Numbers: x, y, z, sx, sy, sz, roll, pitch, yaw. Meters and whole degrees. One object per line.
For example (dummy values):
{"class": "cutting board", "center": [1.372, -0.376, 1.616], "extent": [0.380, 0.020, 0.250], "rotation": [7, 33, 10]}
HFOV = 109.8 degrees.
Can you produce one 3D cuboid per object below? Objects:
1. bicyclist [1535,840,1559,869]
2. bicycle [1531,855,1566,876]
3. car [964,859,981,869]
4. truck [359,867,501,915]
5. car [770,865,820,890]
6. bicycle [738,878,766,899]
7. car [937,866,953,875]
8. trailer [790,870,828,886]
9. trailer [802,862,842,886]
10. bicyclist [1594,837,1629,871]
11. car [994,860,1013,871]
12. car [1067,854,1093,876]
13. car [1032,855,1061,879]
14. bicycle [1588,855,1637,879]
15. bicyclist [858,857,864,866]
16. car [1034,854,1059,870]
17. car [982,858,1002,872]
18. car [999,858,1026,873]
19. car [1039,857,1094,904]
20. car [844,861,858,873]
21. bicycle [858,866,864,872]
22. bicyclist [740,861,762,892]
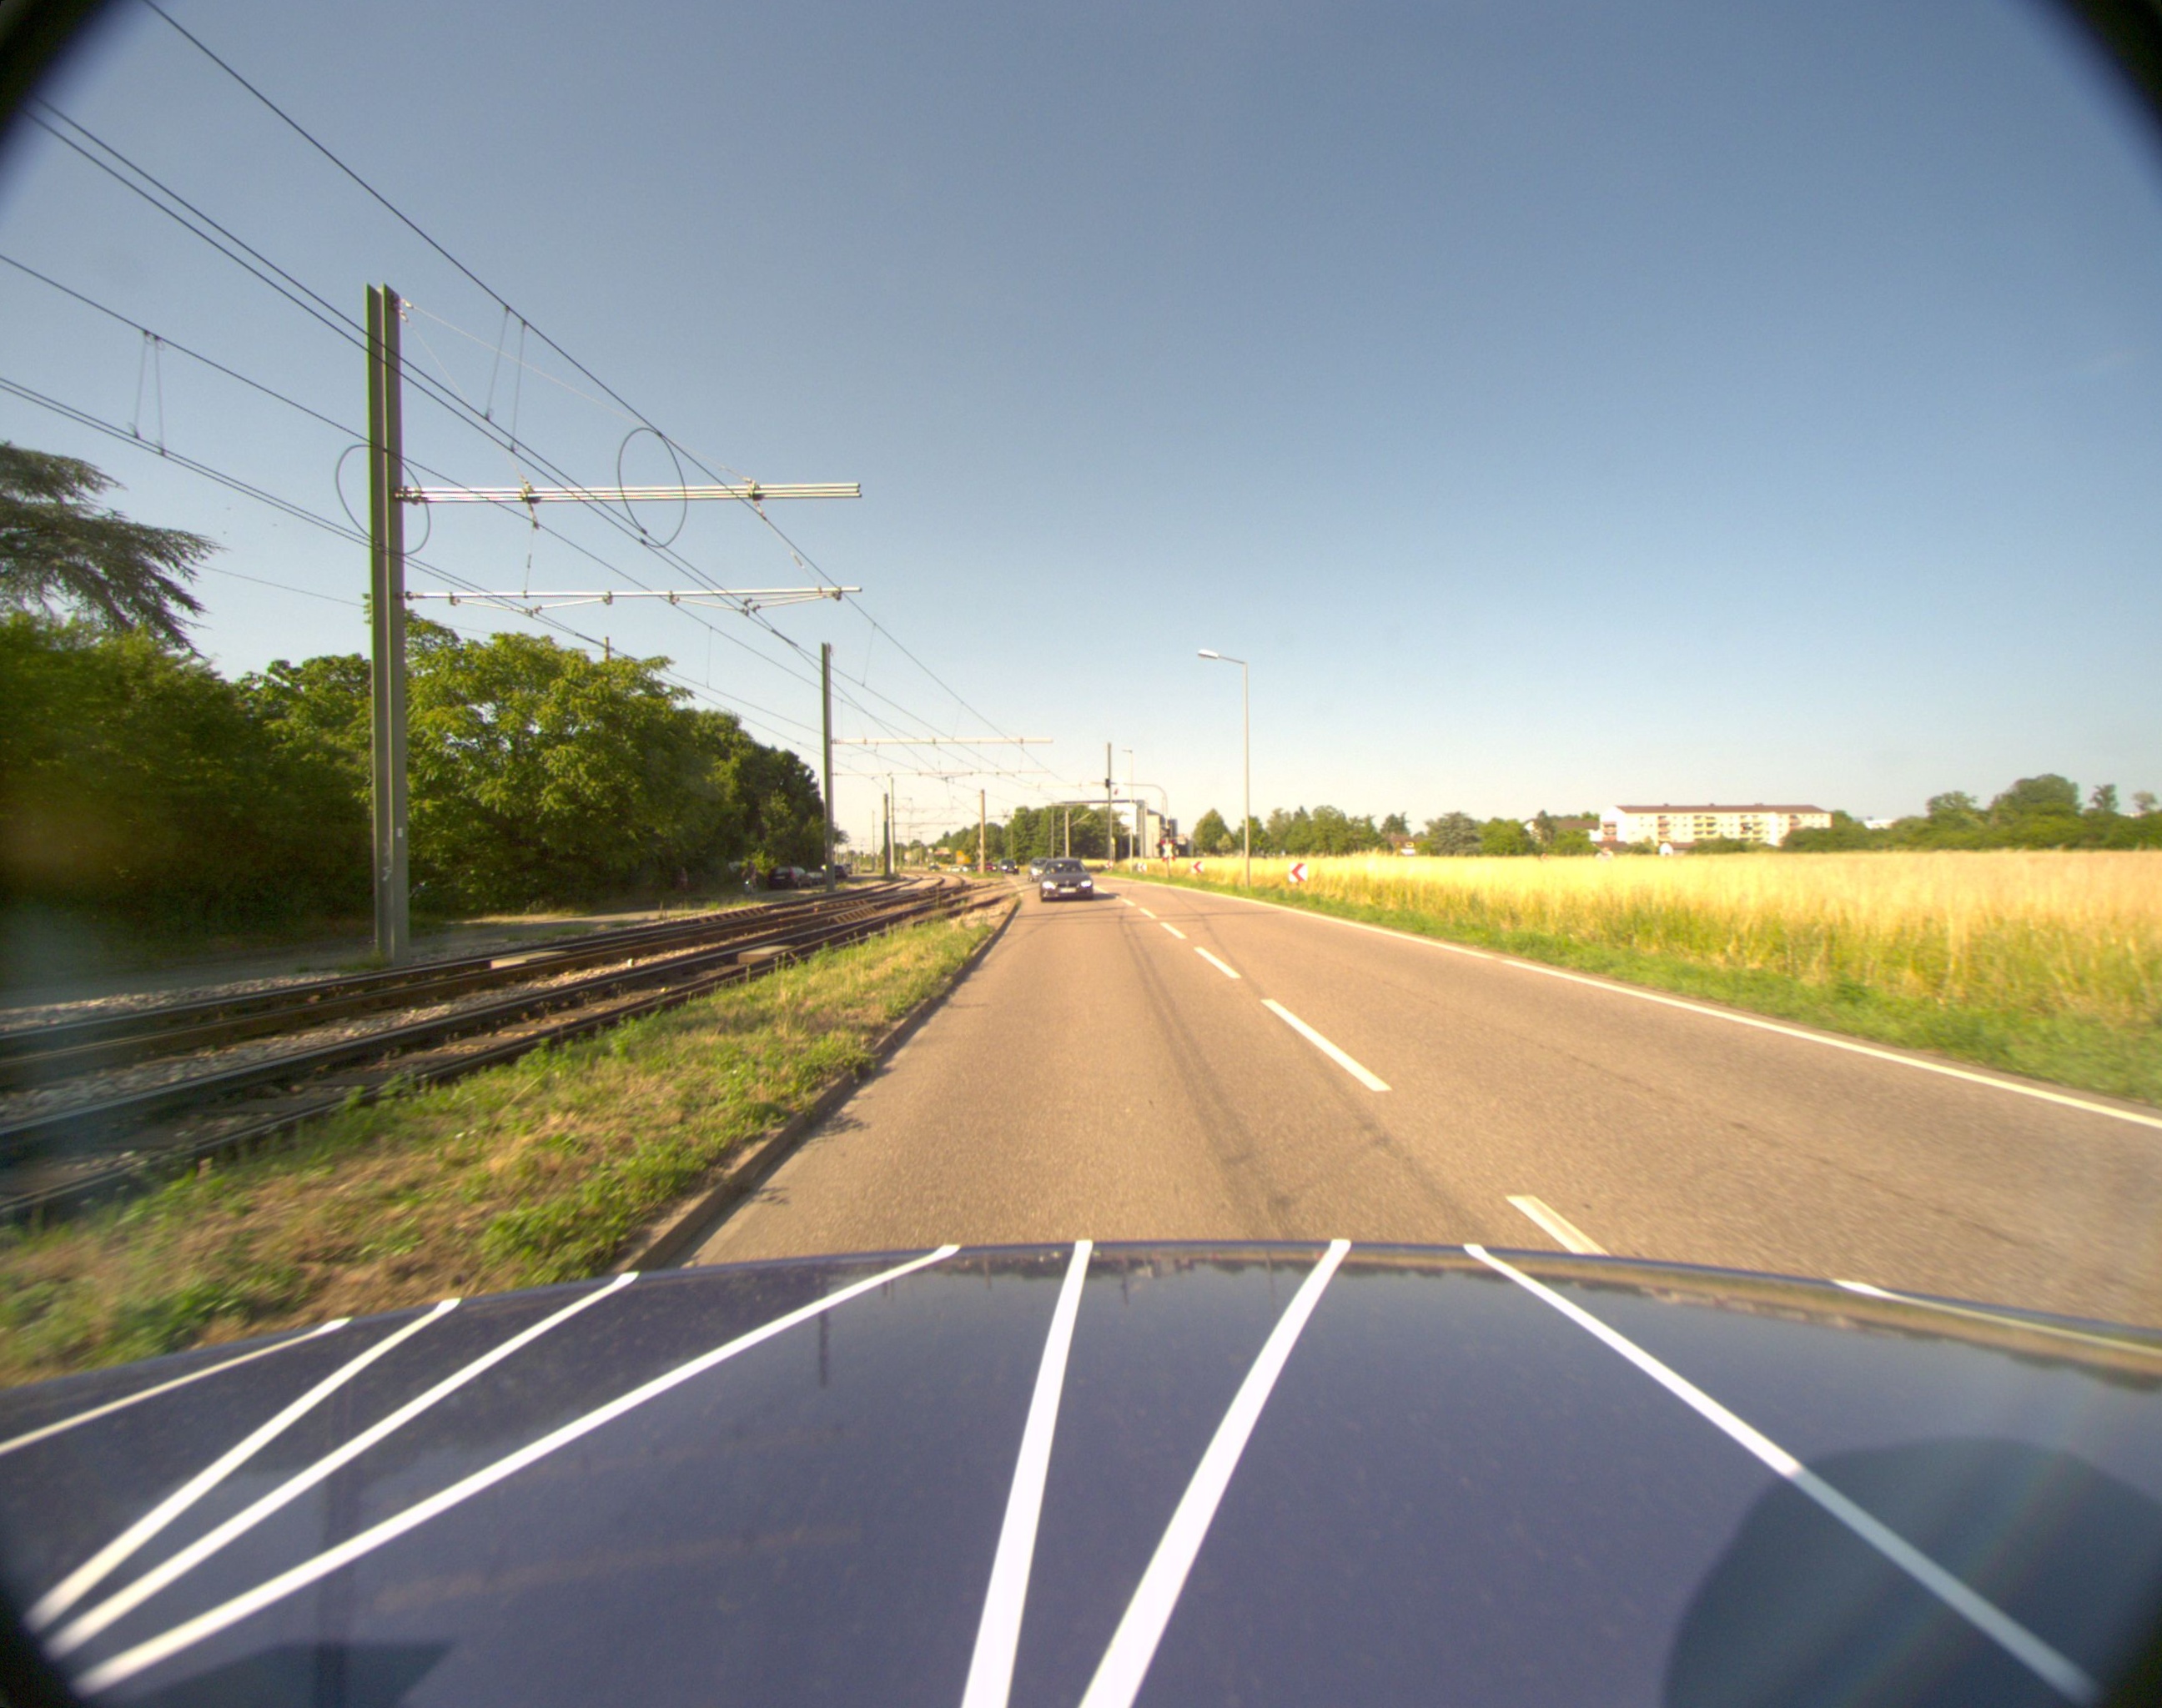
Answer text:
{"class": "bicyclist", "center": [19.855, 0.030, 32.372], "extent": [0.603, 1.198, 0.790], "rotation": [-1, 0, 8]}
{"class": "bicycle", "center": [19.861, 0.467, 32.301], "extent": [0.614, 0.834, 1.737], "rotation": [-2, 0, 8]}
{"class": "car", "center": [-15.527, 1.420, 108.823], "extent": [1.610, 1.504, 4.261], "rotation": [0, 0, -19]}
{"class": "truck", "center": [-28.397, 1.527, 33.454], "extent": [1.999, 1.843, 5.405], "rotation": [-2, 0, -6]}
{"class": "car", "center": [-18.375, 1.470, 48.988], "extent": [1.703, 1.448, 4.878], "rotation": [-4, 0, -5]}
{"class": "bicycle", "center": [-15.604, 1.604, 36.081], "extent": [0.644, 0.904, 1.843], "rotation": [-2, 0, -5]}
{"class": "car", "center": [-24.174, 3.000, 134.648], "extent": [1.840, 1.504, 4.145], "rotation": [-3, 0, -24]}
{"class": "trailer", "center": [-19.207, 1.679, 53.810], "extent": [1.737, 0.934, 3.725], "rotation": [-4, 0, -8]}
{"class": "trailer", "center": [-19.671, 1.498, 57.826], "extent": [2.033, 1.587, 4.256], "rotation": [-4, 0, -8]}
{"class": "bicyclist", "center": [19.503, 0.000, 27.937], "extent": [0.747, 1.198, 0.790], "rotation": [-1, 0, 8]}
{"class": "car", "center": [-10.955, 1.594, 107.608], "extent": [1.700, 1.431, 4.277], "rotation": [-2, 0, -19]}
{"class": "car", "center": [-0.110, 0.830, 59.535], "extent": [1.717, 1.540, 3.926], "rotation": [-3, 0, -5]}
{"class": "car", "center": [-2.294, 0.847, 49.097], "extent": [1.711, 1.444, 4.589], "rotation": [-2, -1, -4]}
{"class": "bicycle", "center": [19.514, 0.465, 27.921], "extent": [0.751, 0.834, 1.737], "rotation": [-2, 0, 8]}
{"class": "bicyclist", "center": [-30.124, 1.040, 104.024], "extent": [0.642, 1.226, 0.790], "rotation": [-2, 0, -21]}
{"class": "car", "center": [-3.694, 0.866, 80.643], "extent": [1.712, 1.655, 4.585], "rotation": [-2, 0, -13]}
{"class": "car", "center": [-11.038, 1.373, 94.066], "extent": [1.850, 1.587, 3.734], "rotation": [-3, 0, -15]}
{"class": "car", "center": [-6.706, 1.116, 74.220], "extent": [1.850, 1.347, 4.149], "rotation": [-3, 0, -15]}
{"class": "car", "center": [-0.446, 0.885, 26.944], "extent": [1.747, 1.444, 3.947], "rotation": [-2, 0, 1]}
{"class": "car", "center": [-31.905, 1.820, 105.157], "extent": [1.529, 1.600, 4.477], "rotation": [0, -1, -21]}
{"class": "bicycle", "center": [-30.062, 2.060, 103.961], "extent": [0.645, 0.904, 1.810], "rotation": [-2, 0, -21]}
{"class": "bicyclist", "center": [-15.611, 1.065, 35.996], "extent": [0.631, 1.414, 0.962], "rotation": [-2, 0, -5]}
